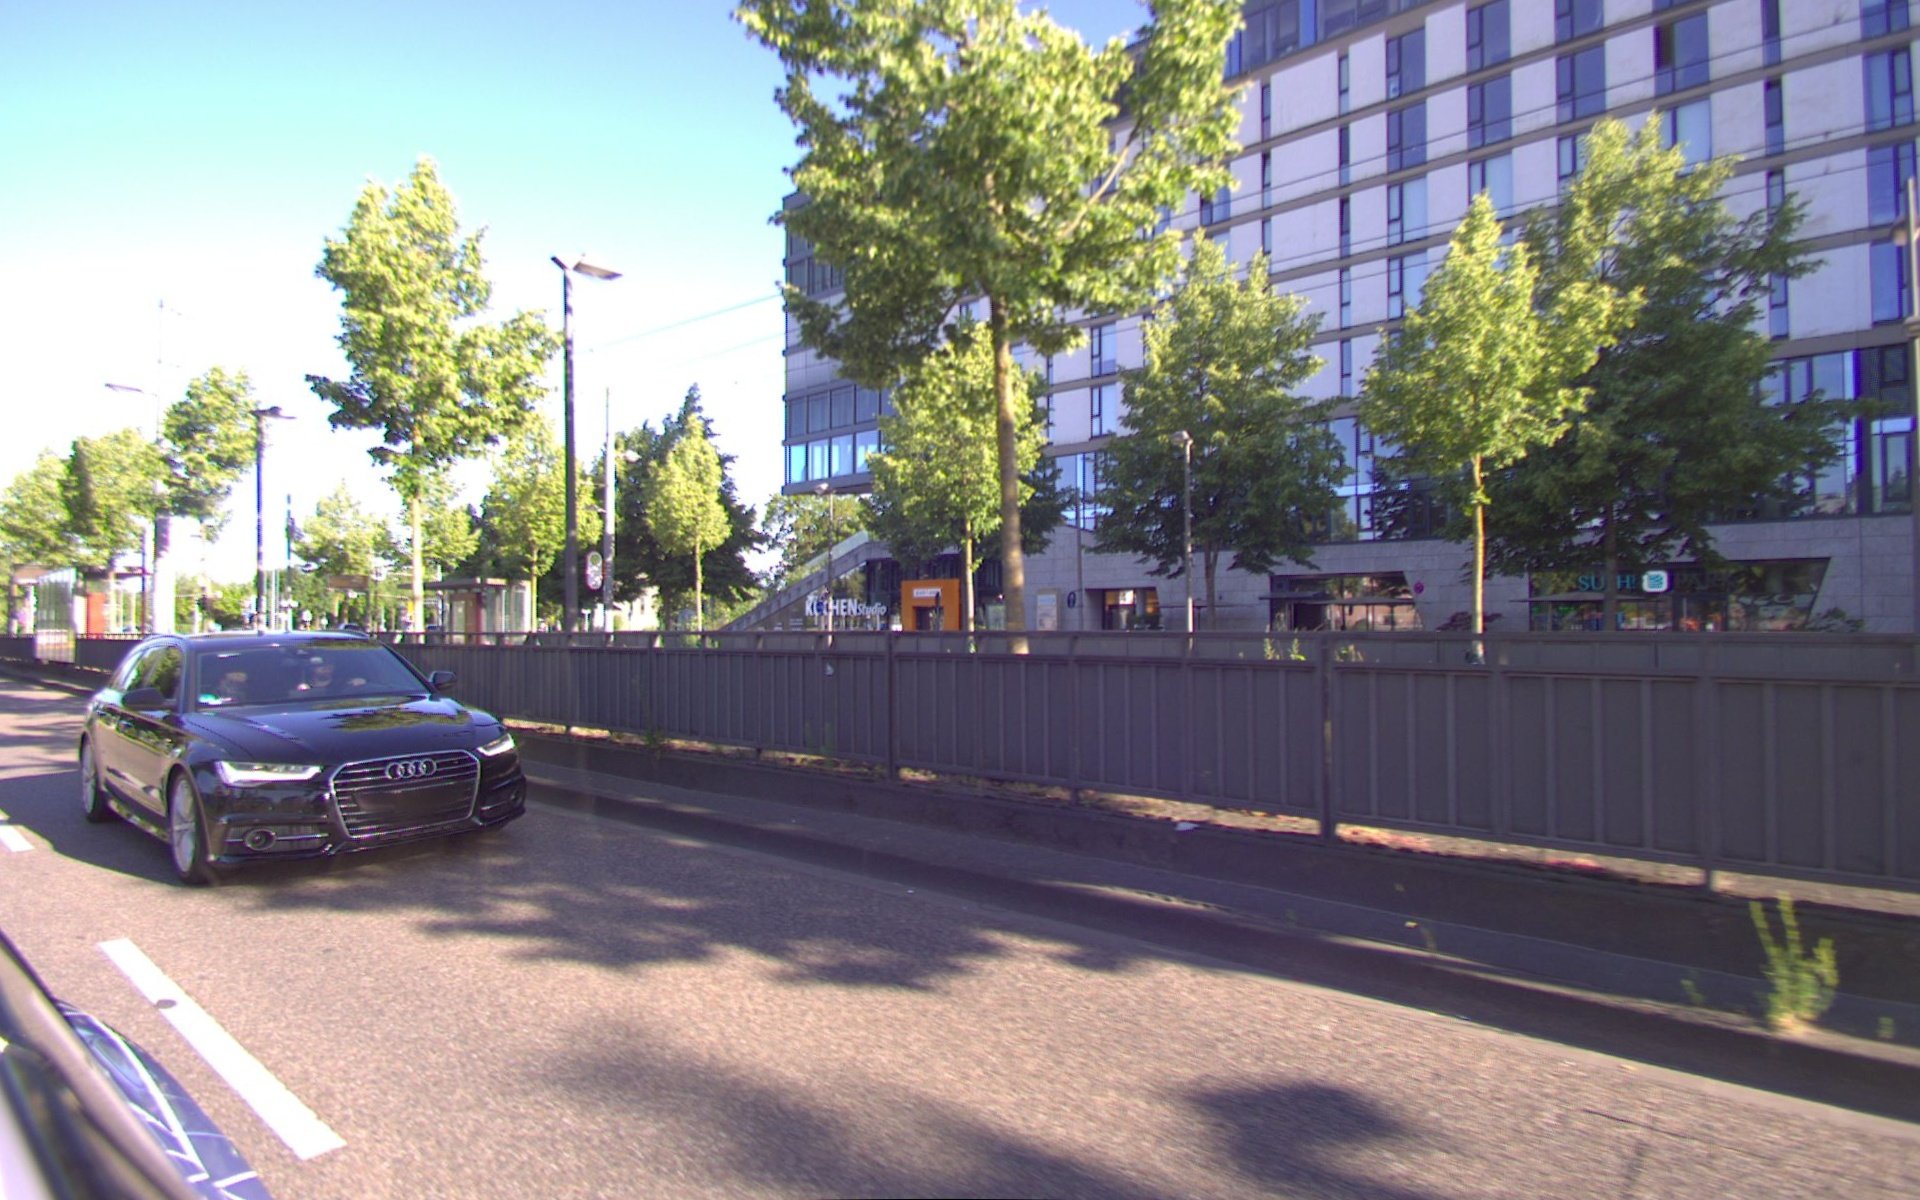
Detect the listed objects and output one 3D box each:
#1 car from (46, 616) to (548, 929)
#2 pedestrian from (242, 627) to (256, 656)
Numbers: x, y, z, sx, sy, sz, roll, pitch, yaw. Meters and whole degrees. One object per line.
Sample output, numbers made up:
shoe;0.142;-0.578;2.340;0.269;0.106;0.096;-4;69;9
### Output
car;-4.921;0.923;7.211;4.597;1.538;1.766;-2;-2;40
pedestrian;-39.824;2.330;56.718;0.810;1.590;0.413;0;-1;39
